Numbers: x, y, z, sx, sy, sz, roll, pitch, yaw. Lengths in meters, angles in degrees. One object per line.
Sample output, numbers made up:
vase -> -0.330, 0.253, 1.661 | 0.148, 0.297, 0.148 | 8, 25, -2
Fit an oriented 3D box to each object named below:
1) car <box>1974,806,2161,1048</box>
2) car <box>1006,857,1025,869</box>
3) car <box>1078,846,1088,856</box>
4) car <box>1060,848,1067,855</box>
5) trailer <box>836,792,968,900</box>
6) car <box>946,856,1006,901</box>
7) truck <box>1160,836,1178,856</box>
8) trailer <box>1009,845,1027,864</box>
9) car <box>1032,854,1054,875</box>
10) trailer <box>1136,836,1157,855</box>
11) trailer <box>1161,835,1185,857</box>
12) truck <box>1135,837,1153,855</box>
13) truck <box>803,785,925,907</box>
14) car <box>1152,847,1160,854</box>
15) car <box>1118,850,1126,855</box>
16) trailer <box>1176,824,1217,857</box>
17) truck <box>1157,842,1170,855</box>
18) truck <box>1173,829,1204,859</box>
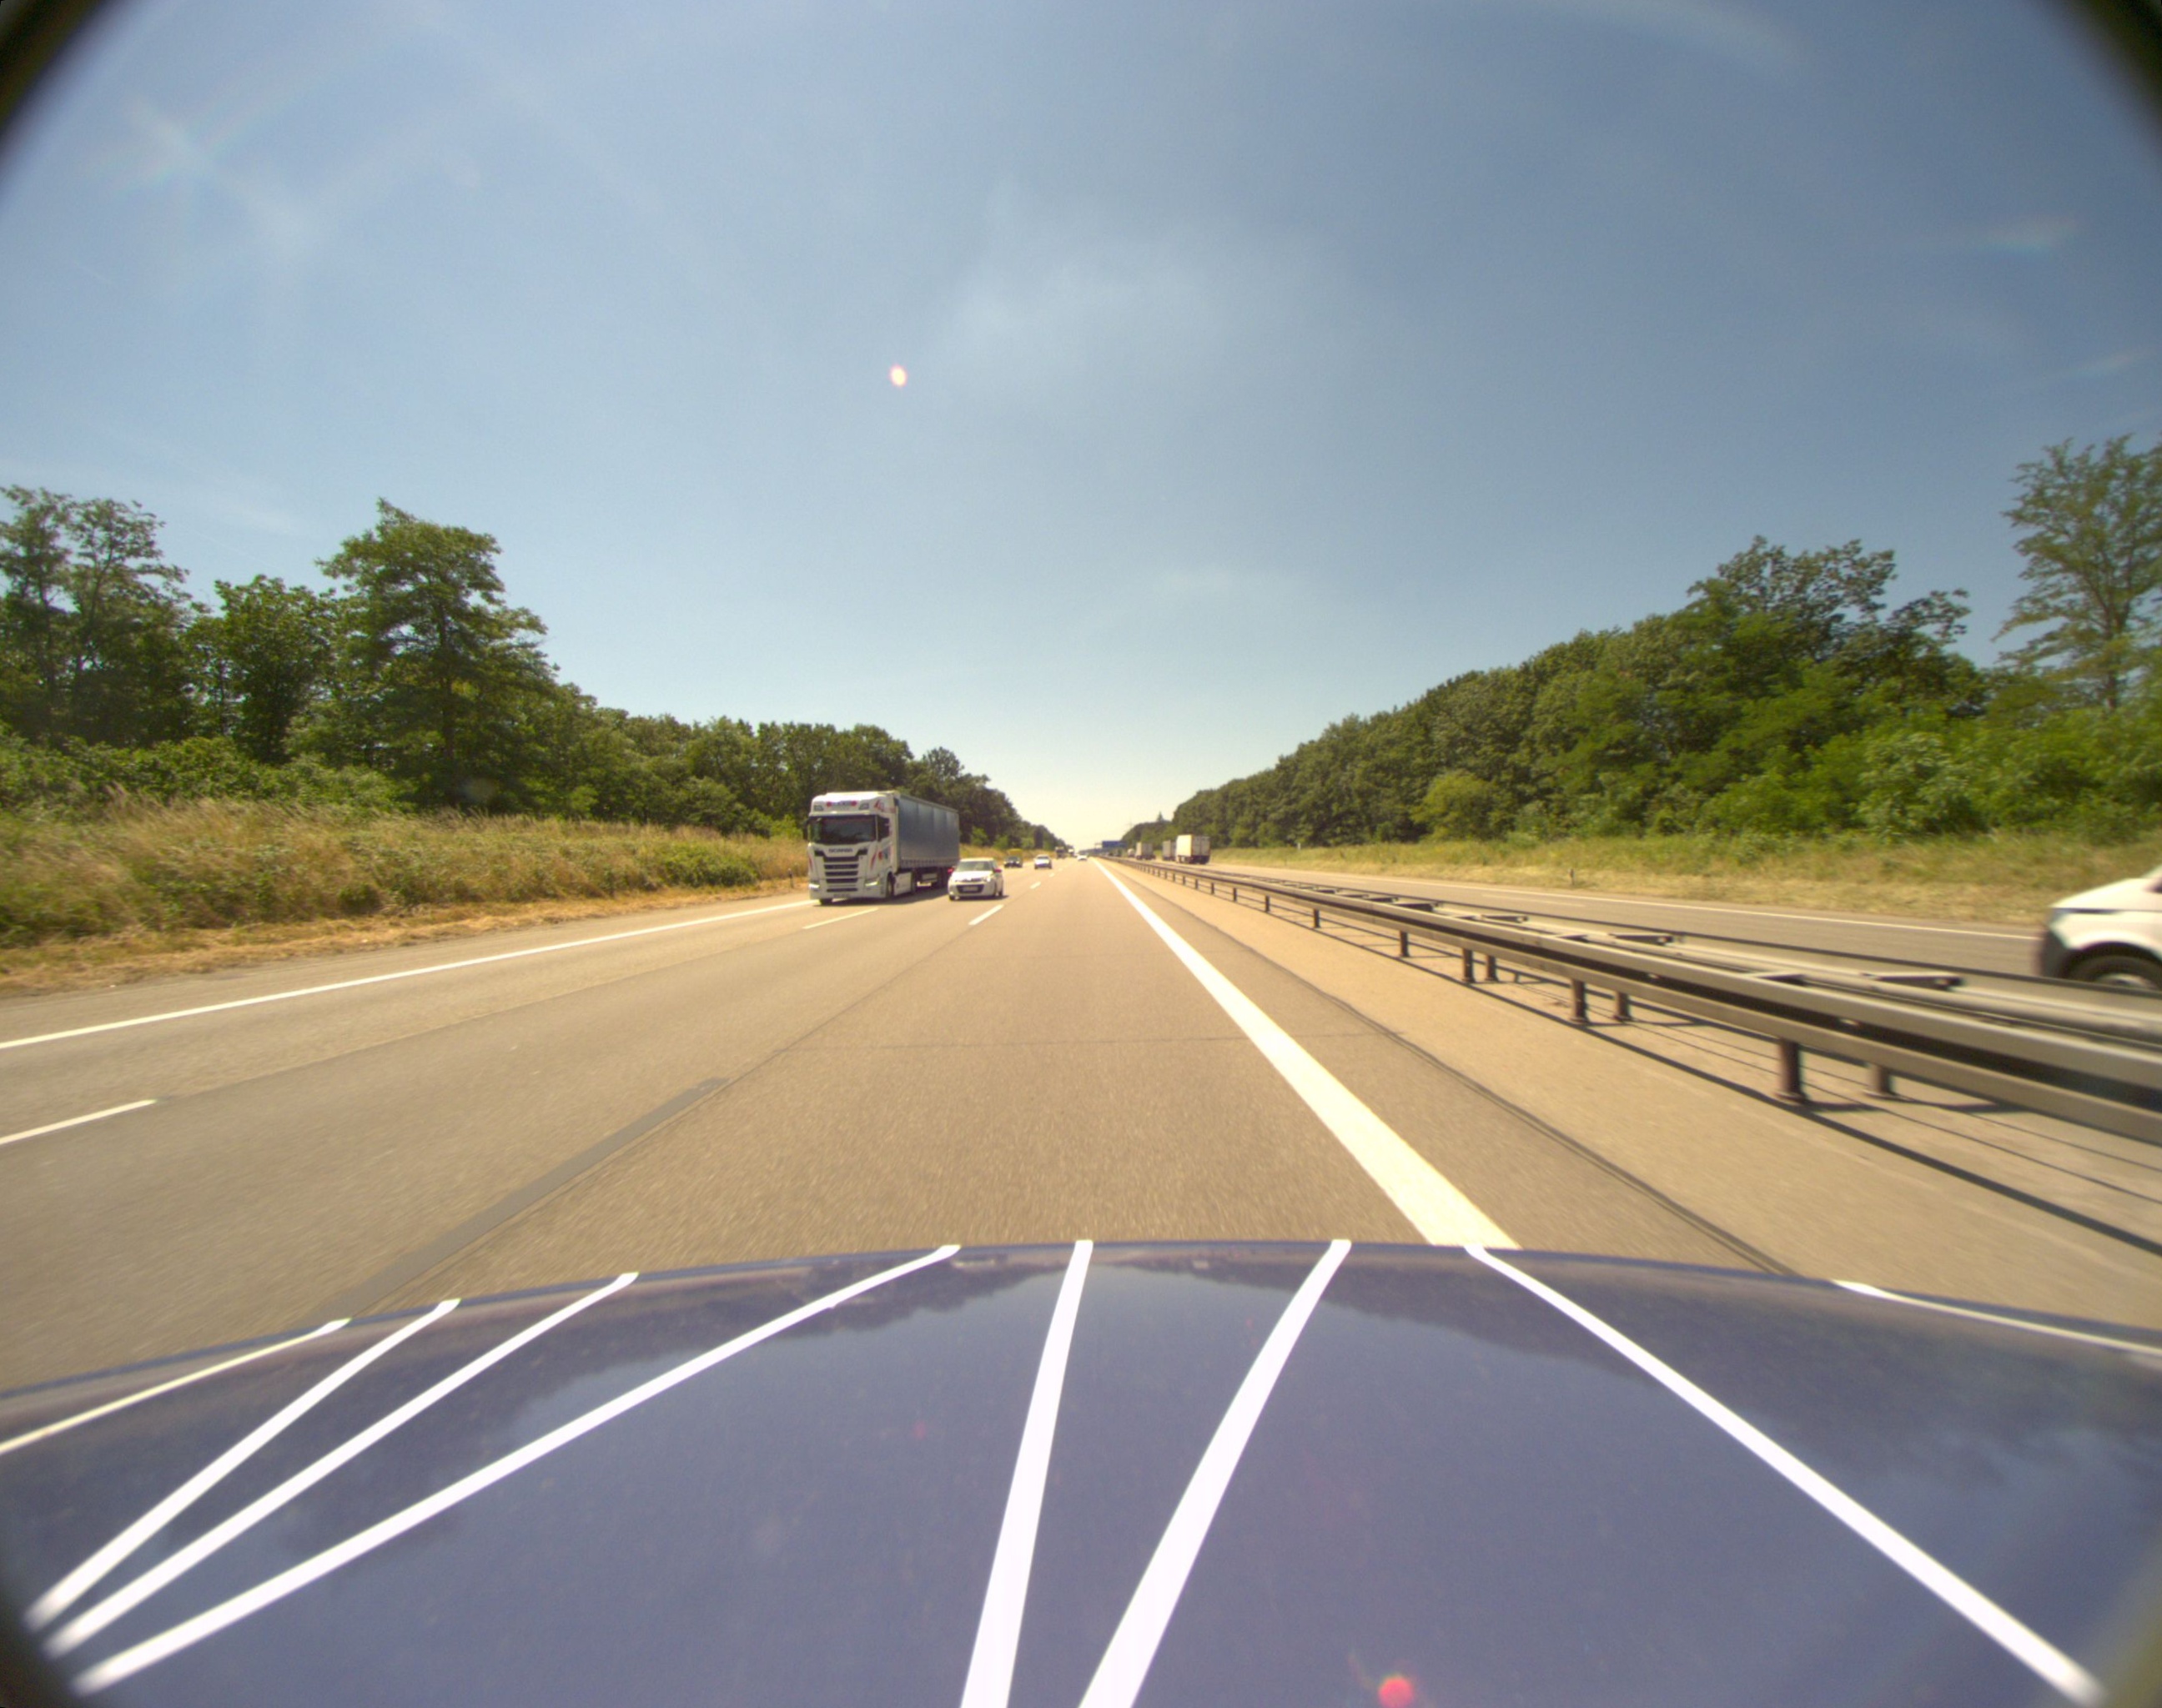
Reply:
car -> 9.155, 0.582, 4.374 | 1.836, 1.844, 5.236 | 1, 1, 0
car -> -7.810, 1.078, 90.676 | 1.845, 1.275, 3.352 | -2, 1, 1
car -> 0.455, -0.649, 155.502 | 1.998, 2.002, 4.000 | -2, 1, 1
car -> -5.410, -0.891, 235.624 | 1.998, 2.002, 4.000 | -2, 1, 1
trailer -> -7.813, -0.379, 35.775 | 2.603, 3.980, 14.079 | -2, 1, 1
car -> -3.722, 0.846, 27.417 | 1.581, 1.412, 3.352 | -2, 1, 1
truck -> 18.544, -1.698, 160.836 | 2.940, 4.160, 6.039 | 2, 1, 0
trailer -> -7.802, 0.045, 93.936 | 1.849, 2.196, 3.196 | -2, 1, 1
car -> -3.932, 1.033, 78.802 | 1.998, 2.002, 4.000 | -2, 1, 1
trailer -> 14.926, -1.883, 173.899 | 3.539, 4.160, 13.661 | 2, 1, 0
trailer -> 18.526, -1.632, 154.137 | 2.940, 4.160, 13.853 | 2, 1, 0
truck -> 14.908, -1.947, 180.650 | 3.539, 4.160, 7.112 | 2, 1, 0
truck -> -7.878, -0.307, 28.462 | 2.603, 3.980, 6.173 | -2, 1, 1
car -> 20.457, -0.876, 207.146 | 1.836, 1.844, 5.236 | 1, 1, 0
car -> 13.054, -0.450, 242.120 | 1.781, 1.543, 3.998 | -2, 1, -3
trailer -> 16.229, -1.857, 108.009 | 3.539, 4.160, 13.604 | 2, 1, 0
truck -> 18.432, -1.227, 170.484 | 2.162, 2.752, 6.107 | -2, 1, 0
truck -> 16.282, -1.435, 115.132 | 3.539, 4.296, 7.057 | 2, 1, 0
